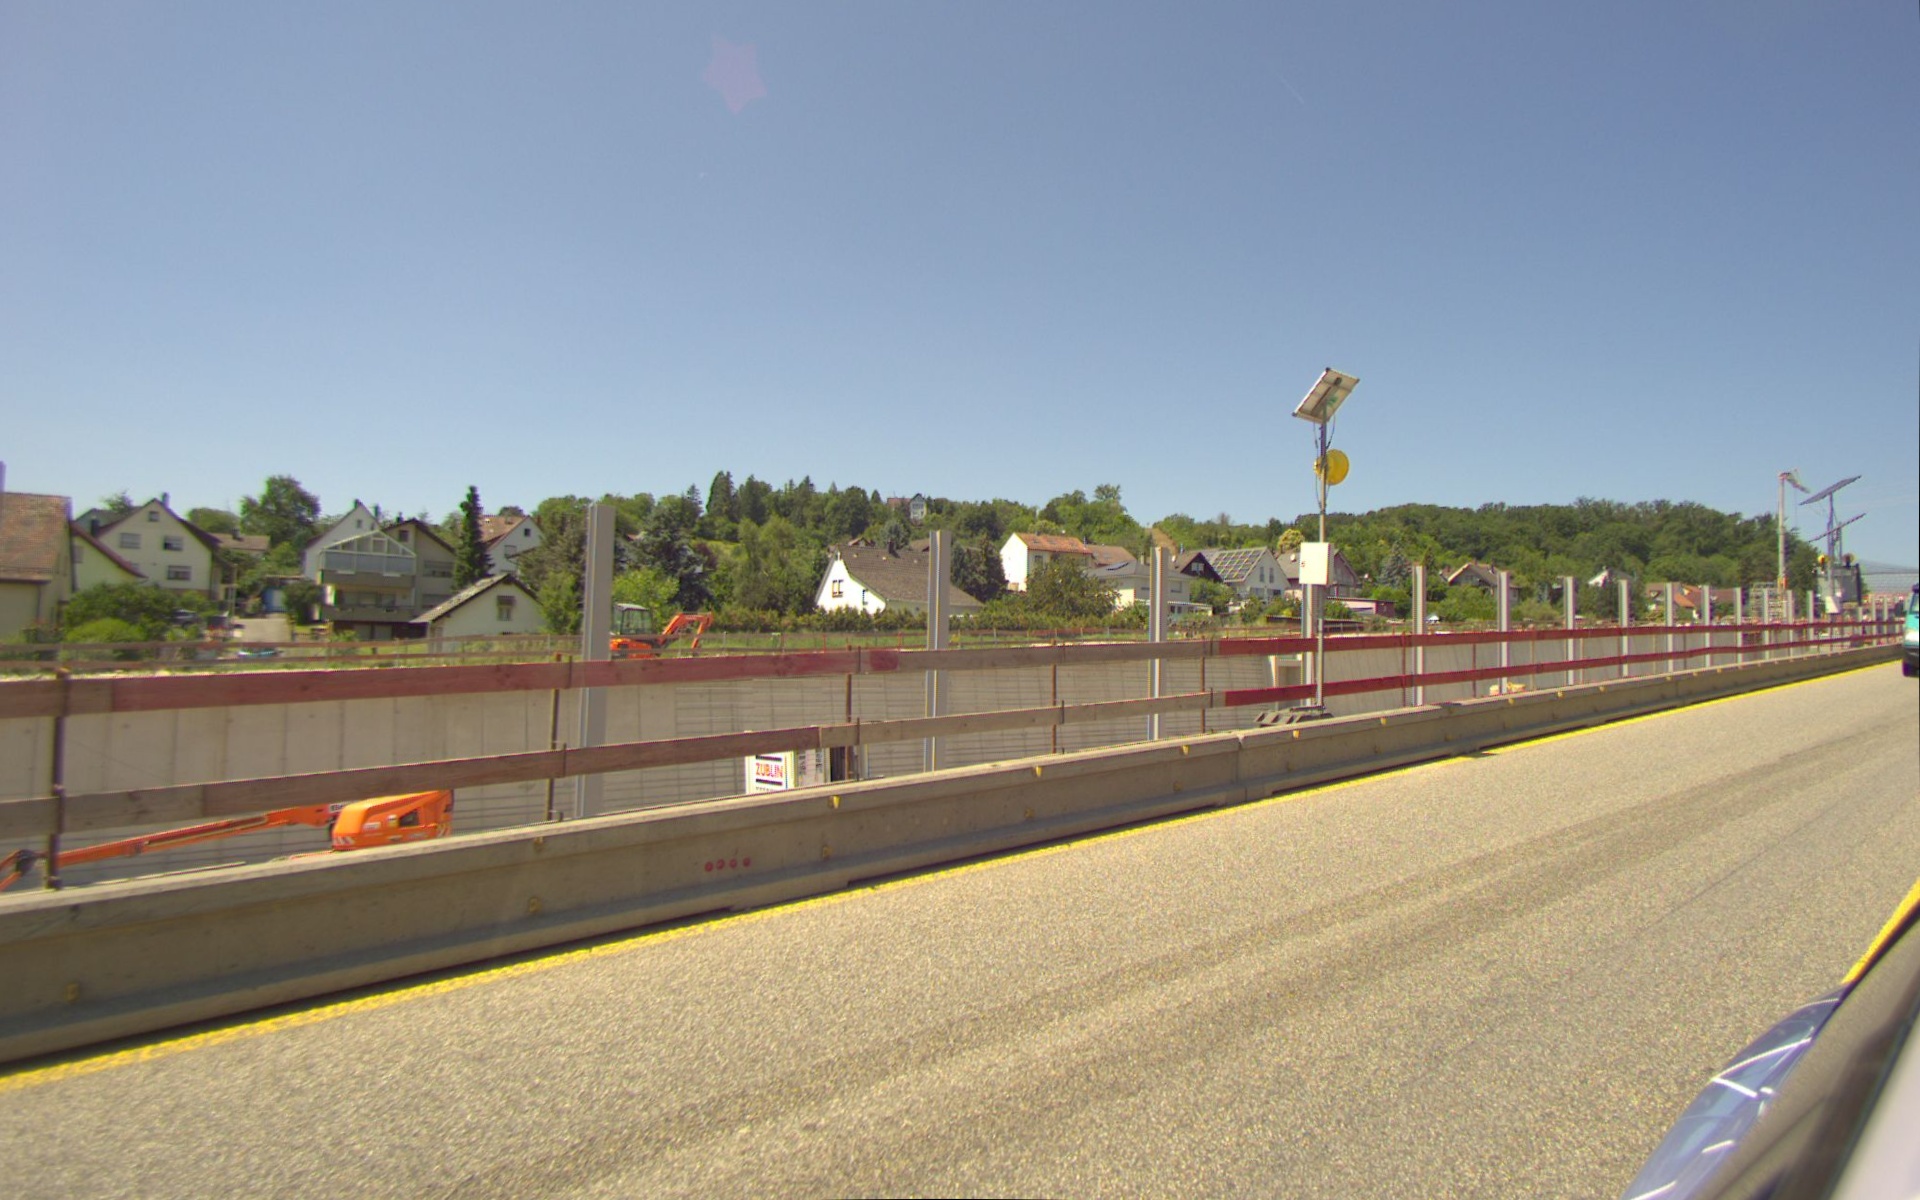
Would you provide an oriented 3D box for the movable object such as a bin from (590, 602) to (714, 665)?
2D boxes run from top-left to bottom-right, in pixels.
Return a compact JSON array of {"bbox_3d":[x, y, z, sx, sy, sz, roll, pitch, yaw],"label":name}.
[{"bbox_3d":[-11.682,1.216,38.457,4.077,2.267,1.997,1,-1,-40],"label":"movable object such as a bin"}]

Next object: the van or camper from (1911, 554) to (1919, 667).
[{"bbox_3d":[24.672,0.297,24.123,7.535,2.505,2.096,1,-1,-40],"label":"van or camper"}]
